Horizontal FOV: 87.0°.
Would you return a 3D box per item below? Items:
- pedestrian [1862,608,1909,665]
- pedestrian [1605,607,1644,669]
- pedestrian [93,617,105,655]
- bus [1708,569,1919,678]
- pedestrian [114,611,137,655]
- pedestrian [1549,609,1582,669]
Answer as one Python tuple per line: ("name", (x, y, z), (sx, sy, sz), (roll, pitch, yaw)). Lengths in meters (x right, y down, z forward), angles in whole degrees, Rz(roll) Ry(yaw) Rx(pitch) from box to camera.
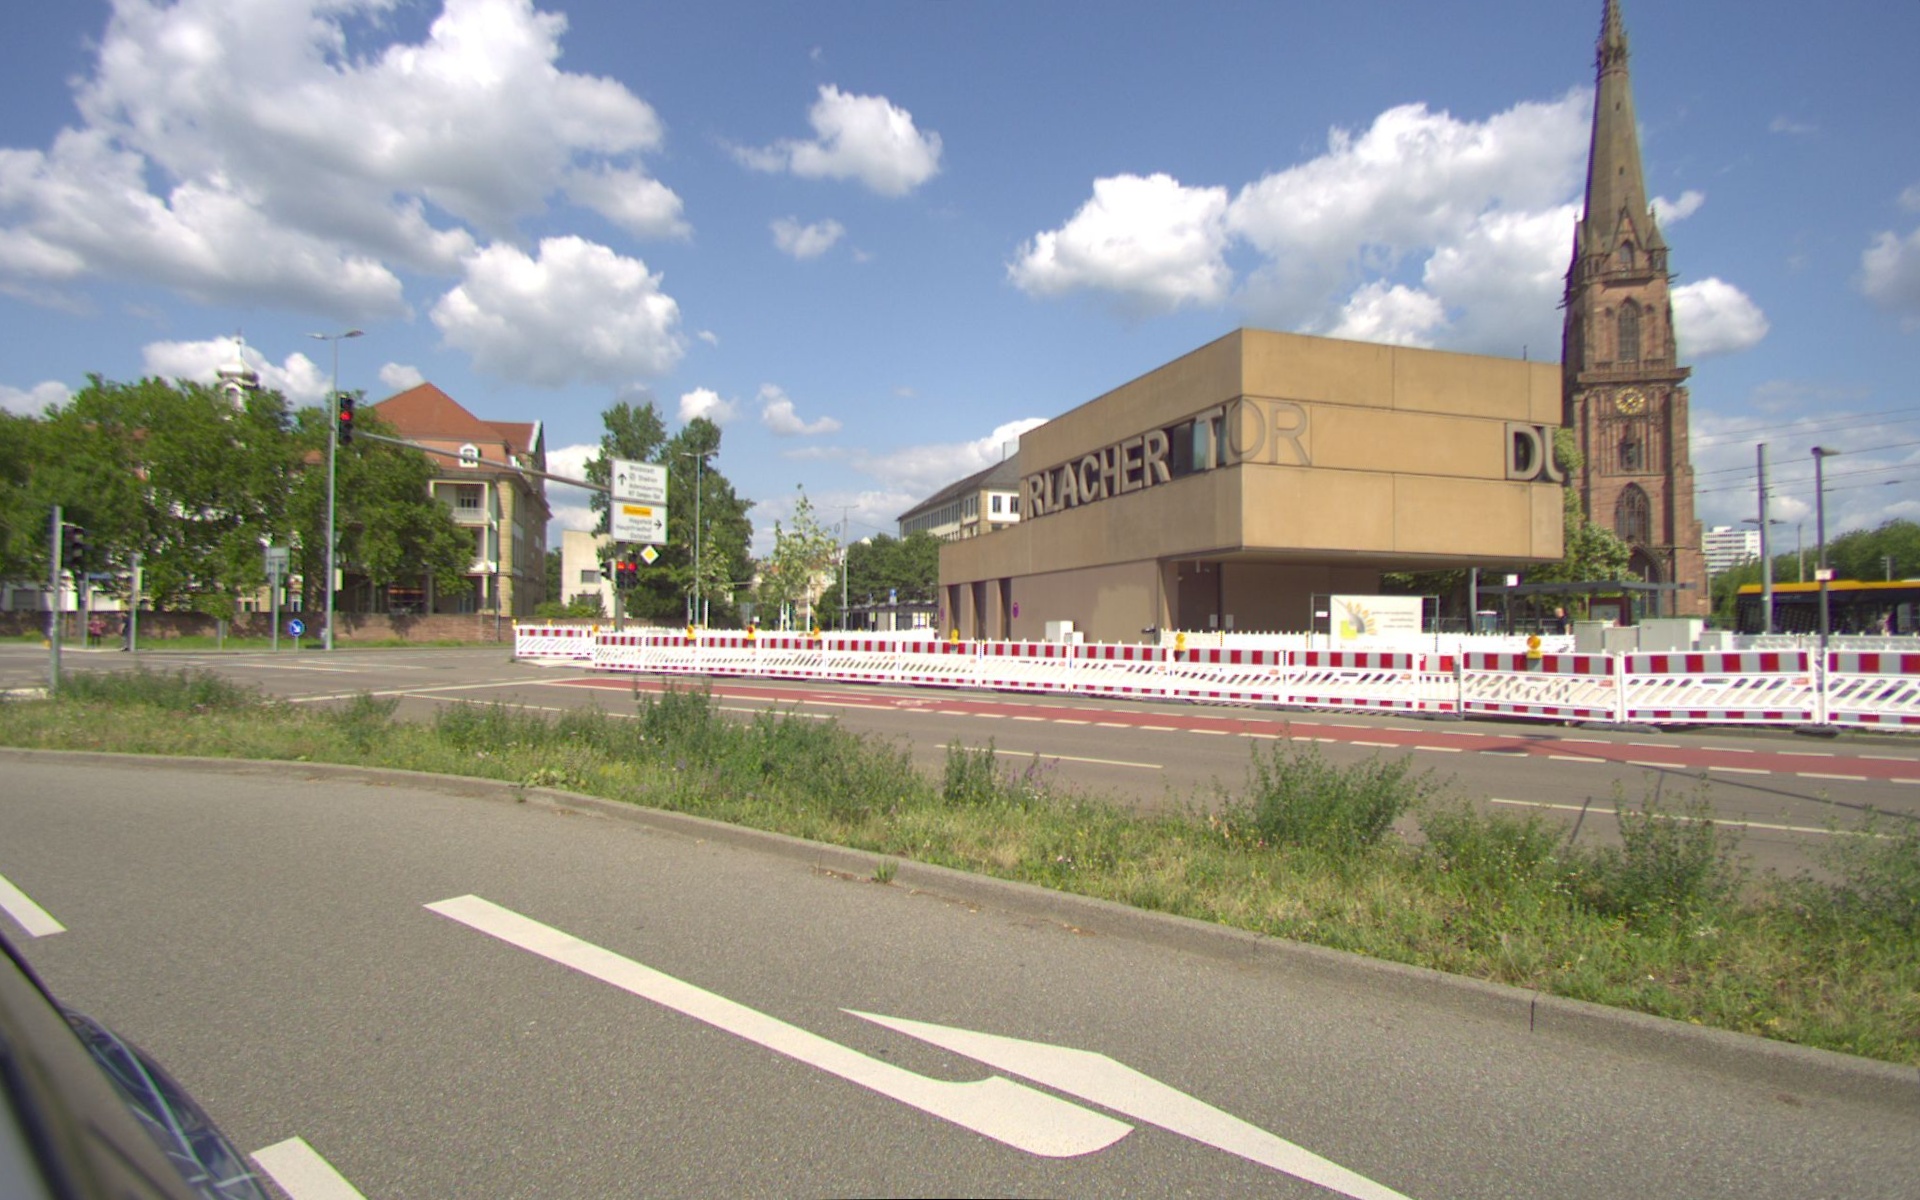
("pedestrian", (27.225, 1.076, 29.765), (0.642, 1.644, 0.768), (0, -1, -15))
("pedestrian", (17.718, 1.009, 26.975), (0.720, 1.642, 0.561), (1, -2, -27))
("pedestrian", (-40.058, 1.657, 47.106), (0.363, 1.745, 0.452), (-1, 0, -35))
("bus", (29.275, 0.692, 29.321), (2.785, 3.160, 12.880), (1, -2, -18))
("pedestrian", (-38.493, 1.523, 46.689), (0.616, 2.009, 0.579), (-1, 0, 13))
("pedestrian", (16.786, 1.082, 28.077), (0.763, 1.644, 0.646), (-1, -2, 30))
